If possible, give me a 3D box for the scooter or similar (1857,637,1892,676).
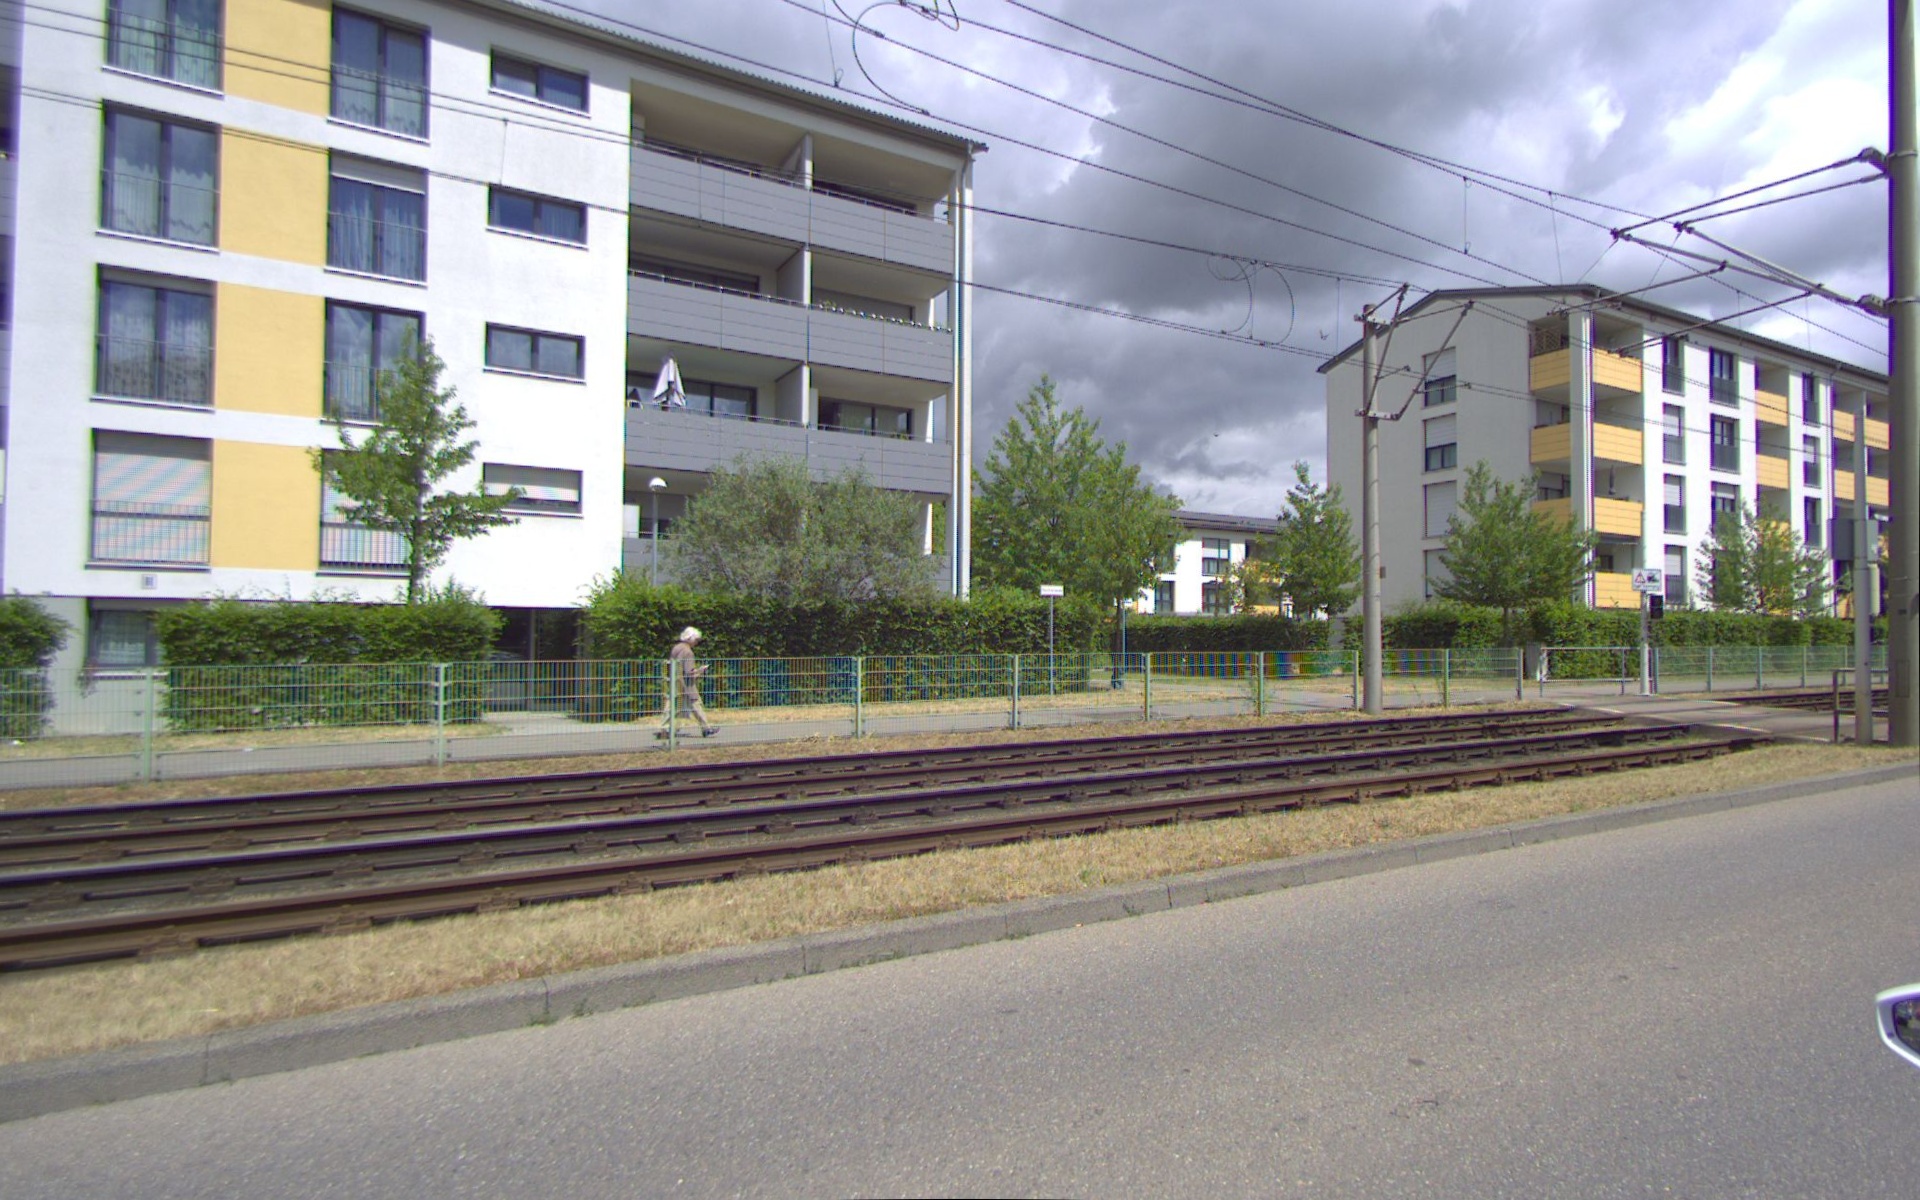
[{"bbox_3d":[31.555,1.943,34.652,1.286,1.310,0.488,1,-1,-29],"label":"scooter or similar"}]

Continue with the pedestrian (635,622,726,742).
[{"bbox_3d":[-3.694,1.049,13.270,0.984,1.503,0.792,1,-1,-31],"label":"pedestrian"}]
